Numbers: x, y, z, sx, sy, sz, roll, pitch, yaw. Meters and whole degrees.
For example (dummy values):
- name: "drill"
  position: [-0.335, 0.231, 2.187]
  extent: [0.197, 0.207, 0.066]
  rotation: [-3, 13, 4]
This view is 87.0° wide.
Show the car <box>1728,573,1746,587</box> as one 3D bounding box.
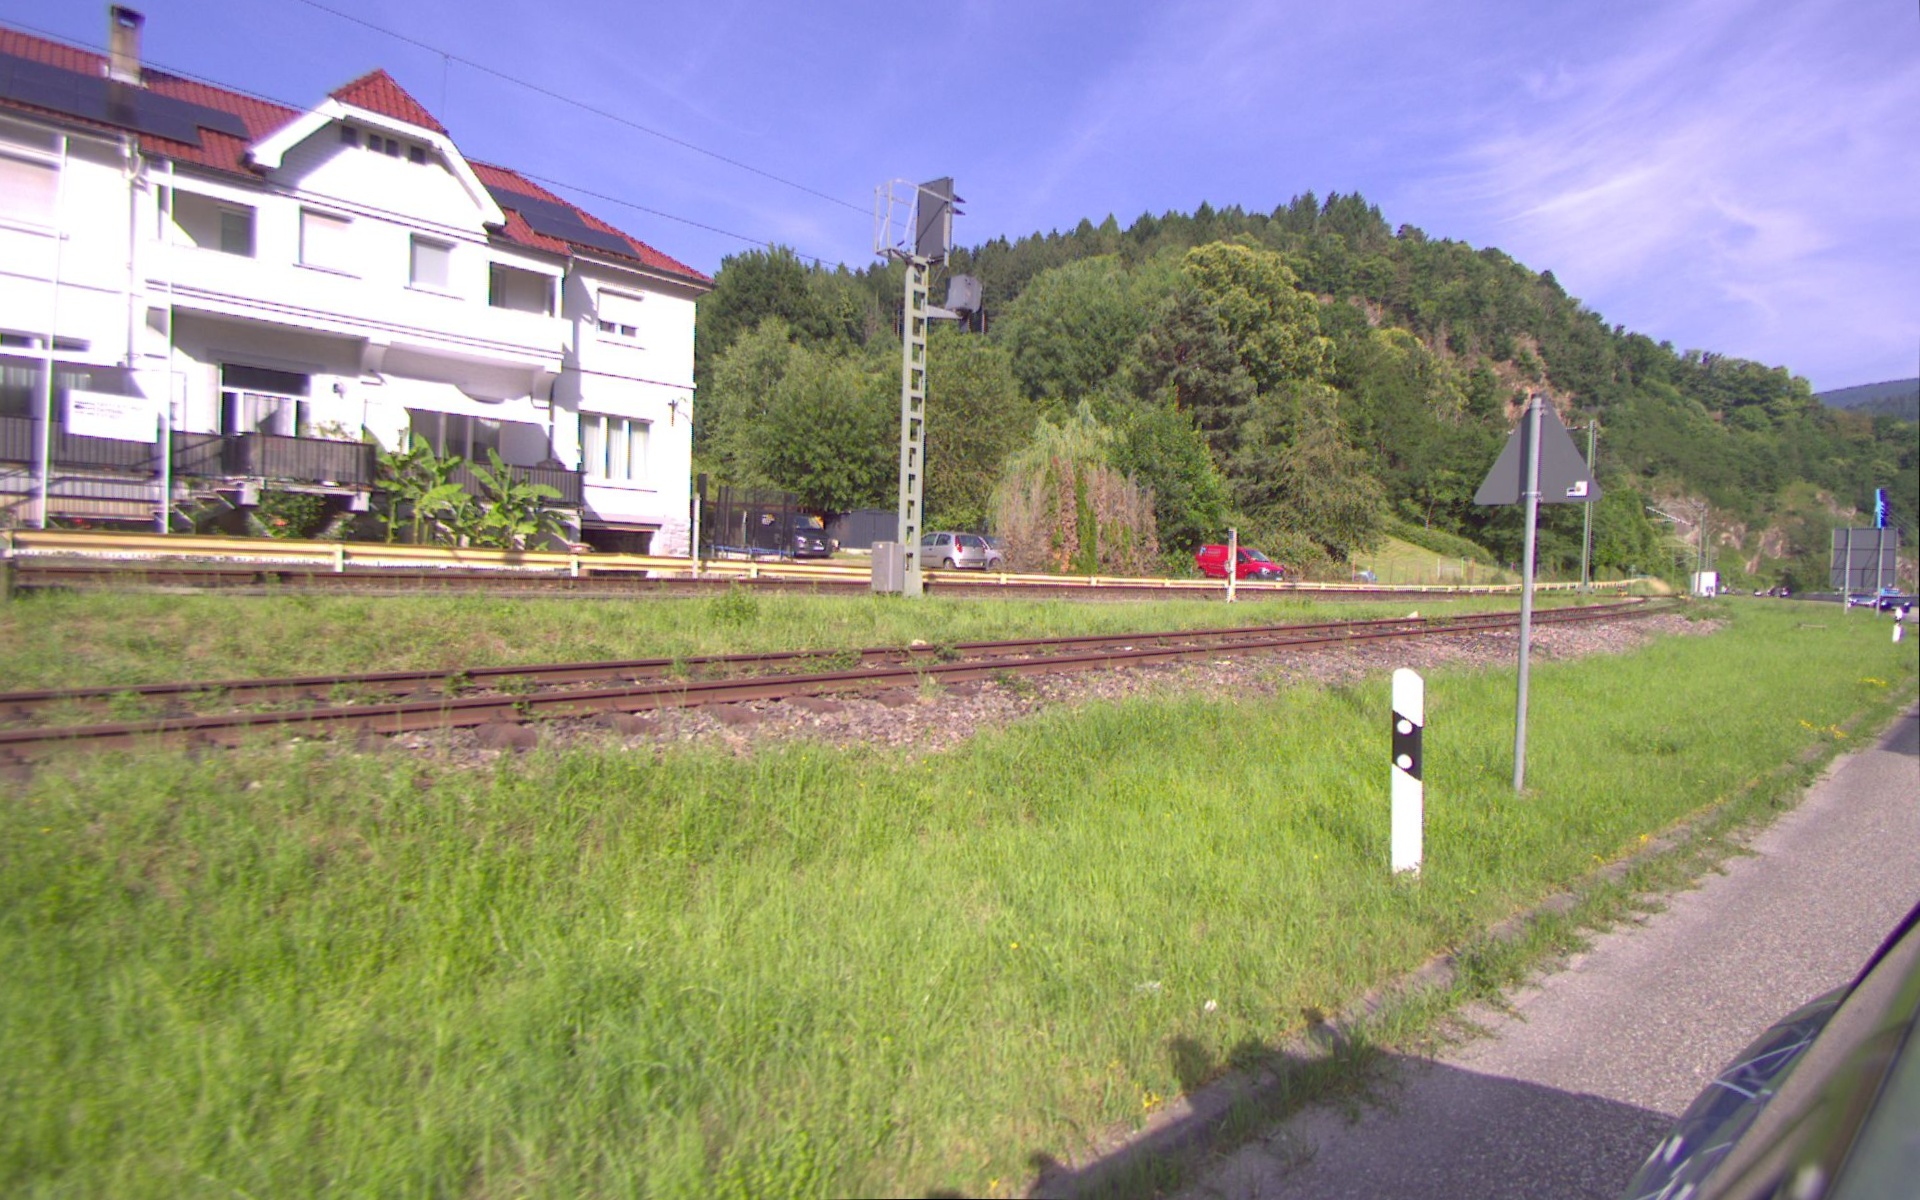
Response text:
- name: "car"
  position: [122.332, -3.156, 159.312]
  extent: [1.989, 2.038, 3.948]
  rotation: [5, 4, 36]

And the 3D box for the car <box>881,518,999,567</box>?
- name: "car"
  position: [-0.759, -2.069, 36.184]
  extent: [3.990, 1.548, 1.968]
  rotation: [5, 3, 45]

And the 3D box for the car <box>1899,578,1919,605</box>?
- name: "car"
  position: [75.444, -0.671, 79.736]
  extent: [1.994, 2.038, 3.939]
  rotation: [5, 4, 42]

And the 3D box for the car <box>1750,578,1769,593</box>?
- name: "car"
  position: [119.620, -2.176, 151.409]
  extent: [1.992, 2.038, 3.942]
  rotation: [5, 4, 40]

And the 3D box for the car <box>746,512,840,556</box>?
- name: "car"
  position: [-7.214, -2.849, 43.454]
  extent: [3.990, 1.704, 1.968]
  rotation: [5, 3, 45]

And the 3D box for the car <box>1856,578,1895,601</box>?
- name: "car"
  position: [86.781, -1.036, 95.959]
  extent: [1.987, 2.038, 3.952]
  rotation: [5, 4, 33]

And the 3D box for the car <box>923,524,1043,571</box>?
- name: "car"
  position: [0.804, -2.001, 38.168]
  extent: [4.316, 1.548, 1.968]
  rotation: [5, 3, 45]

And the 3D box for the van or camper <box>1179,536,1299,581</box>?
- name: "van or camper"
  position: [13.654, -2.075, 49.897]
  extent: [2.083, 1.952, 5.431]
  rotation: [0, 4, -40]
